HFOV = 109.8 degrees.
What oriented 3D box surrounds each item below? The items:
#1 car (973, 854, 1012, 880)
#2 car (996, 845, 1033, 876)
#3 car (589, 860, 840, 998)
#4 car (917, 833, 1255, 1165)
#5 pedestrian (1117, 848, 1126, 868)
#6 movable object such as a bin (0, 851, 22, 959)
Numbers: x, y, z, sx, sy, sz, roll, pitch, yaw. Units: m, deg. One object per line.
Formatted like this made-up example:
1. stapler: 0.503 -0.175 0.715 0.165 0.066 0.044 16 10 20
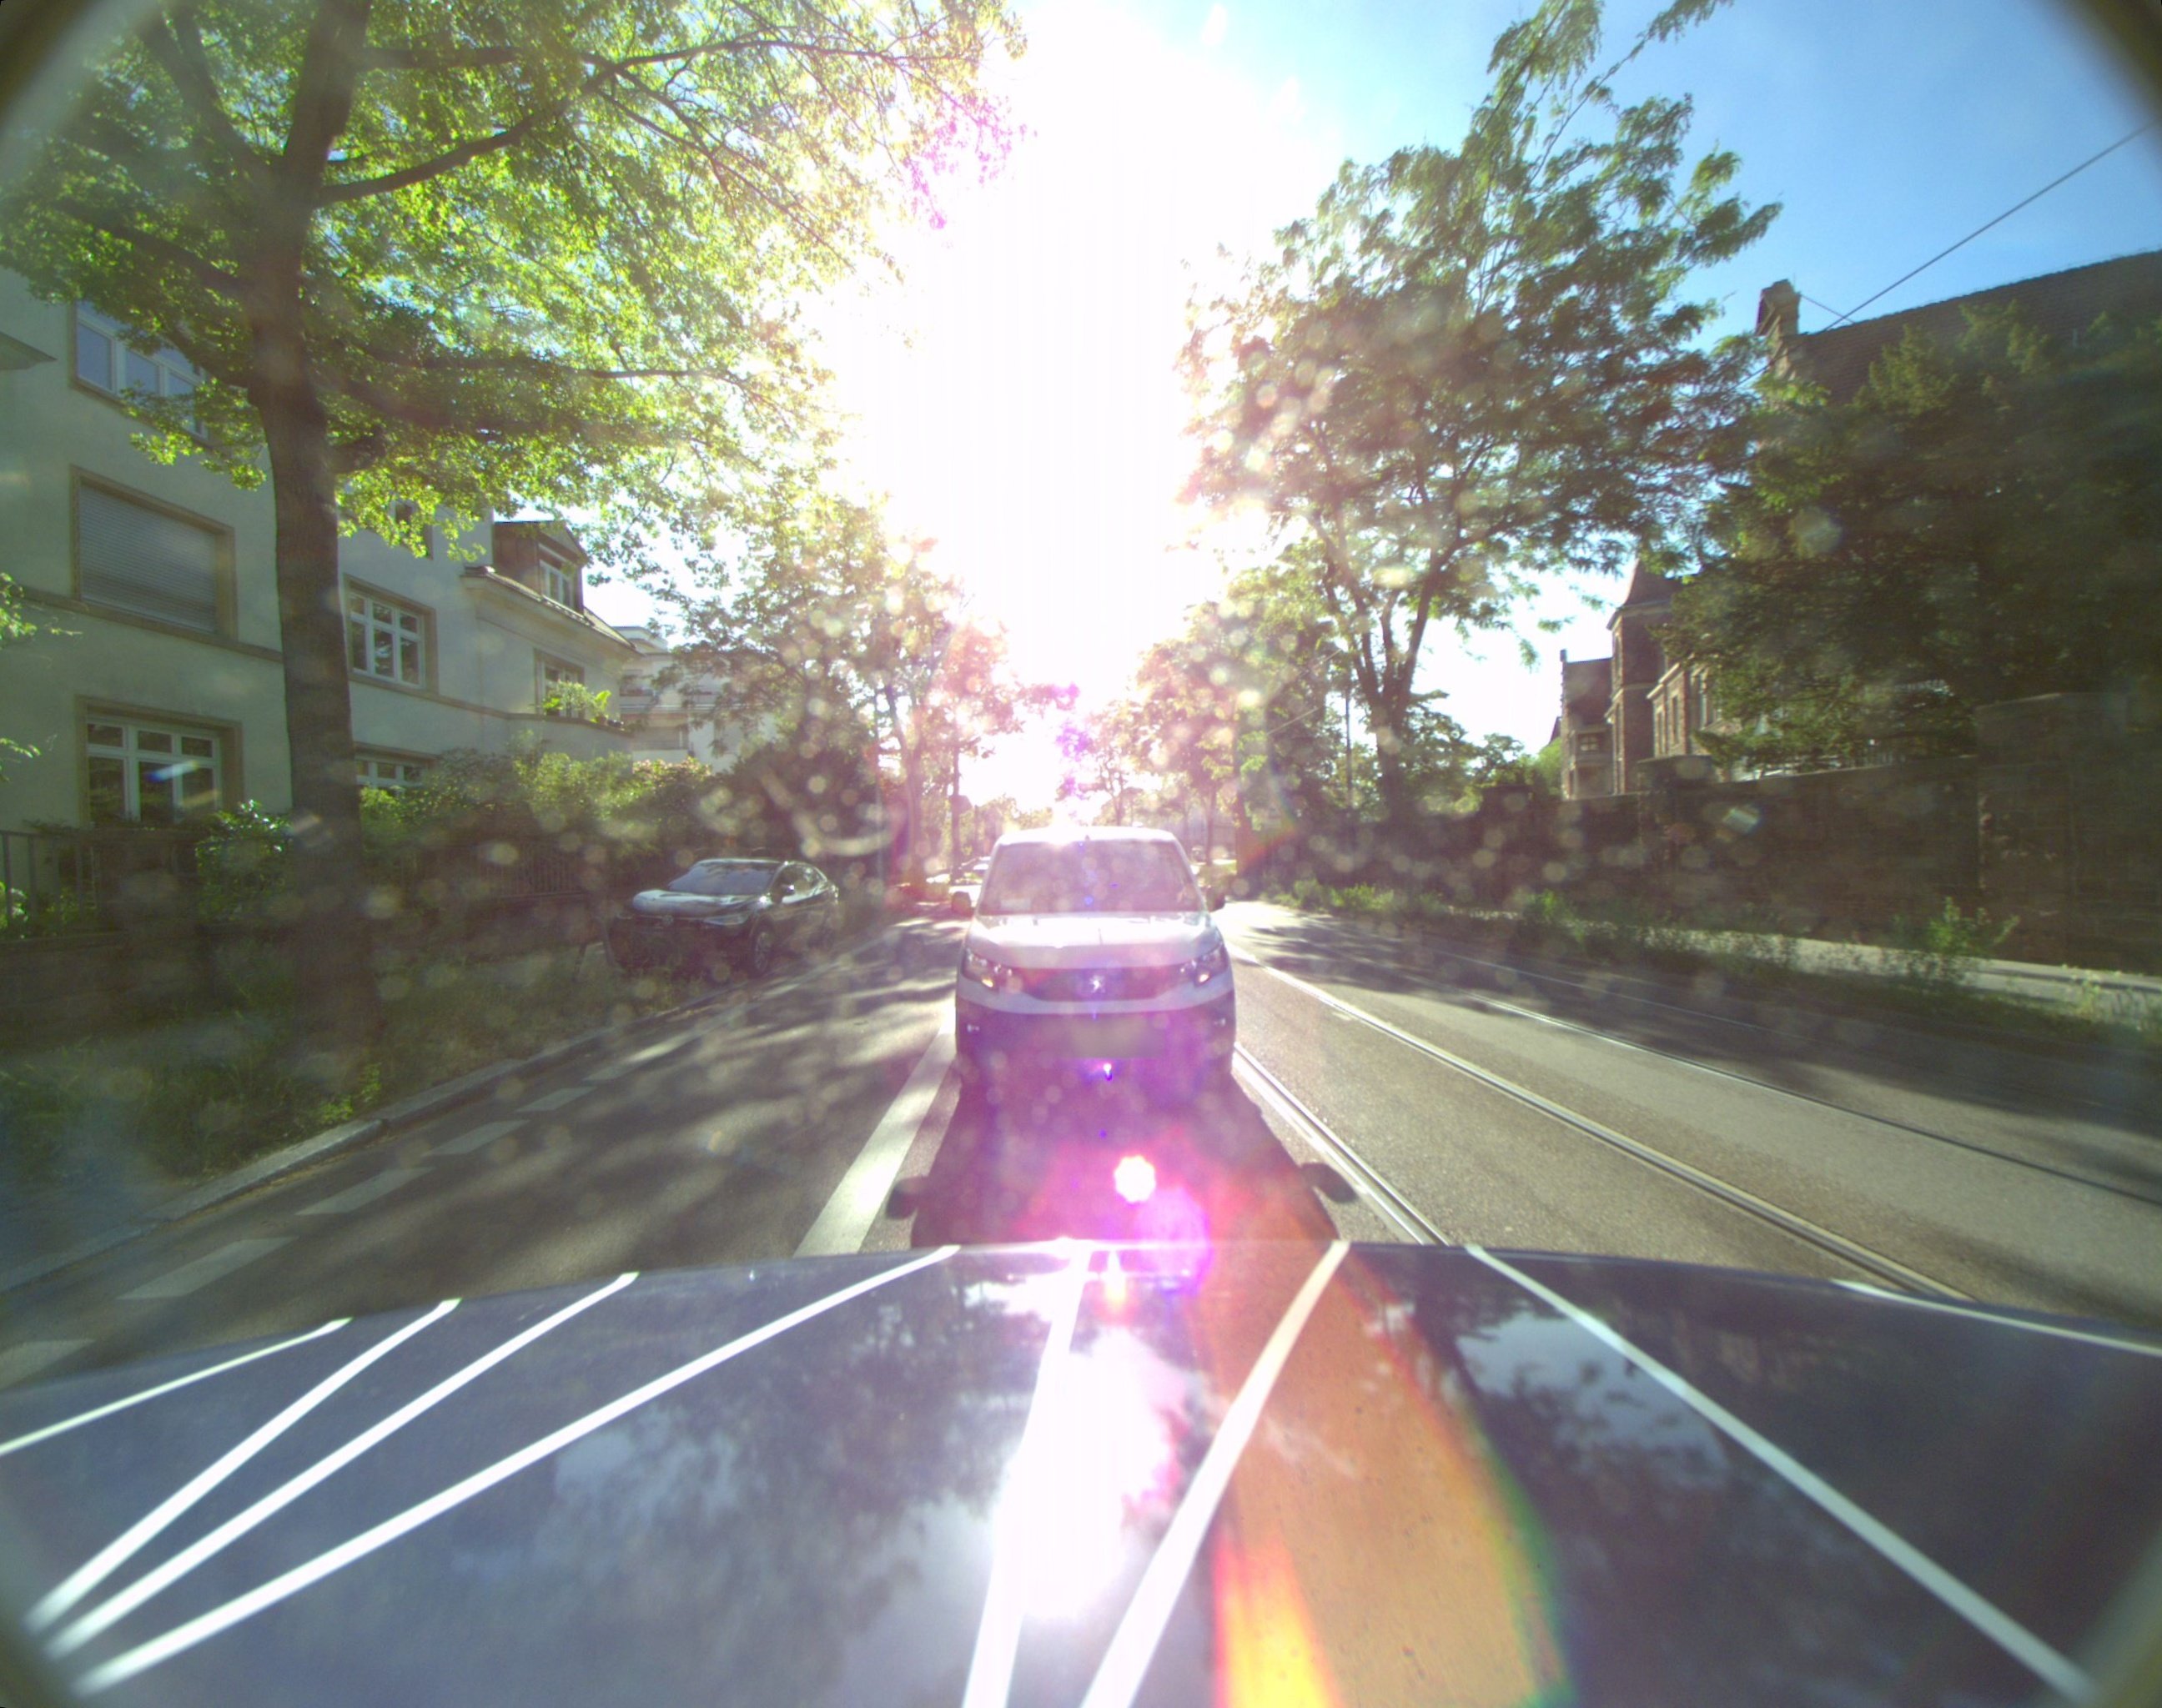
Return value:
1. car: -5.255 0.753 45.460 1.787 1.443 4.000 -2 0 1
2. car: -4.503 0.431 51.926 1.998 2.002 4.583 -2 0 1
3. car: -5.179 0.945 11.436 1.743 1.597 4.091 2 0 0
4. car: 0.045 0.786 6.532 1.793 1.770 4.786 -2 0 0
5. pedestrian: 3.602 0.365 67.682 0.634 1.796 0.674 -1 1 23
6. movable object such as a bin: -11.180 0.516 7.411 1.088 1.051 0.713 -1 1 21
